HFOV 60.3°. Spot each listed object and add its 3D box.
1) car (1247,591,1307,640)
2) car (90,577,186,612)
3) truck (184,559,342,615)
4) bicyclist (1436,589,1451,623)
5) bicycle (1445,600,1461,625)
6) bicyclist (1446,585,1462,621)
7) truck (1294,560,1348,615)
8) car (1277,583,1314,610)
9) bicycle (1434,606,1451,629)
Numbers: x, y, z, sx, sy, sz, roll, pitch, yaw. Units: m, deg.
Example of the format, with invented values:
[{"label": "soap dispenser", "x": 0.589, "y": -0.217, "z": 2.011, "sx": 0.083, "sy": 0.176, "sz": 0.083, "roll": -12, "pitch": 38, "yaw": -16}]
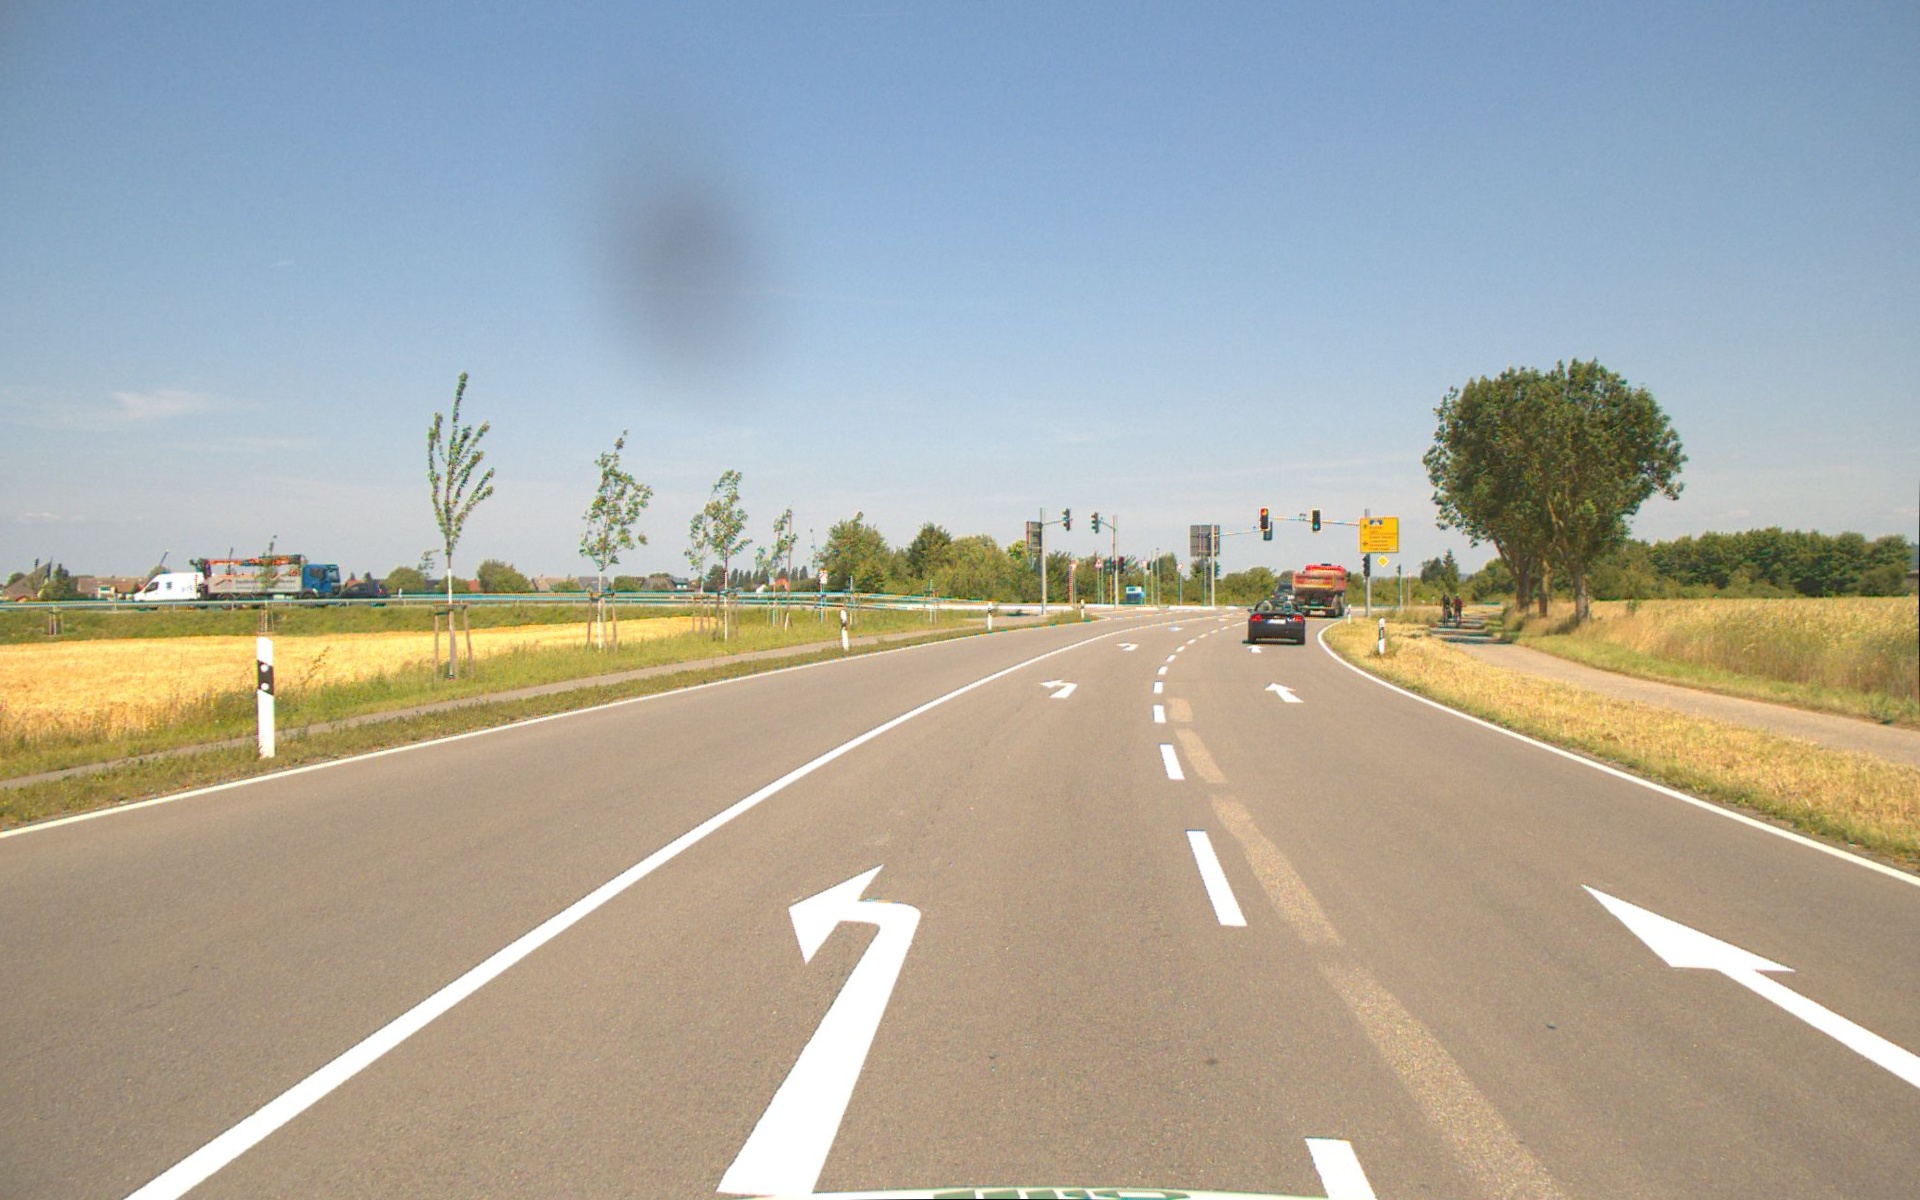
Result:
[{"label": "car", "x": 9.708, "y": 0.499, "z": 50.554, "sx": 1.710, "sy": 1.400, "sz": 3.682, "roll": 1, "pitch": -1, "yaw": 11}, {"label": "car", "x": -59.610, "y": -0.404, "z": 119.946, "sx": 5.797, "sy": 2.464, "sz": 2.247, "roll": 0, "pitch": 0, "yaw": -1}, {"label": "truck", "x": -48.938, "y": -0.919, "z": 116.306, "sx": 9.878, "sy": 3.859, "sz": 2.625, "roll": 0, "pitch": 0, "yaw": -3}, {"label": "bicyclist", "x": 25.887, "y": 0.311, "z": 88.558, "sx": 0.575, "sy": 1.764, "sz": 1.172, "roll": 4, "pitch": 2, "yaw": 22}, {"label": "bicycle", "x": 25.313, "y": 0.632, "z": 84.849, "sx": 0.684, "sy": 1.231, "sz": 2.052, "roll": 3, "pitch": 1, "yaw": 18}, {"label": "bicyclist", "x": 25.313, "y": 0.147, "z": 84.756, "sx": 0.615, "sy": 1.813, "sz": 0.978, "roll": 4, "pitch": 2, "yaw": 19}, {"label": "truck", "x": 21.786, "y": -0.692, "z": 99.633, "sx": 2.656, "sy": 3.106, "sz": 8.169, "roll": 0, "pitch": -1, "yaw": 16}, {"label": "car", "x": 25.856, "y": -0.271, "z": 127.363, "sx": 1.891, "sy": 2.012, "sz": 4.683, "roll": 0, "pitch": 1, "yaw": 23}, {"label": "bicycle", "x": 25.850, "y": 0.919, "z": 88.556, "sx": 0.593, "sy": 1.197, "sz": 2.050, "roll": 3, "pitch": 1, "yaw": 22}]
